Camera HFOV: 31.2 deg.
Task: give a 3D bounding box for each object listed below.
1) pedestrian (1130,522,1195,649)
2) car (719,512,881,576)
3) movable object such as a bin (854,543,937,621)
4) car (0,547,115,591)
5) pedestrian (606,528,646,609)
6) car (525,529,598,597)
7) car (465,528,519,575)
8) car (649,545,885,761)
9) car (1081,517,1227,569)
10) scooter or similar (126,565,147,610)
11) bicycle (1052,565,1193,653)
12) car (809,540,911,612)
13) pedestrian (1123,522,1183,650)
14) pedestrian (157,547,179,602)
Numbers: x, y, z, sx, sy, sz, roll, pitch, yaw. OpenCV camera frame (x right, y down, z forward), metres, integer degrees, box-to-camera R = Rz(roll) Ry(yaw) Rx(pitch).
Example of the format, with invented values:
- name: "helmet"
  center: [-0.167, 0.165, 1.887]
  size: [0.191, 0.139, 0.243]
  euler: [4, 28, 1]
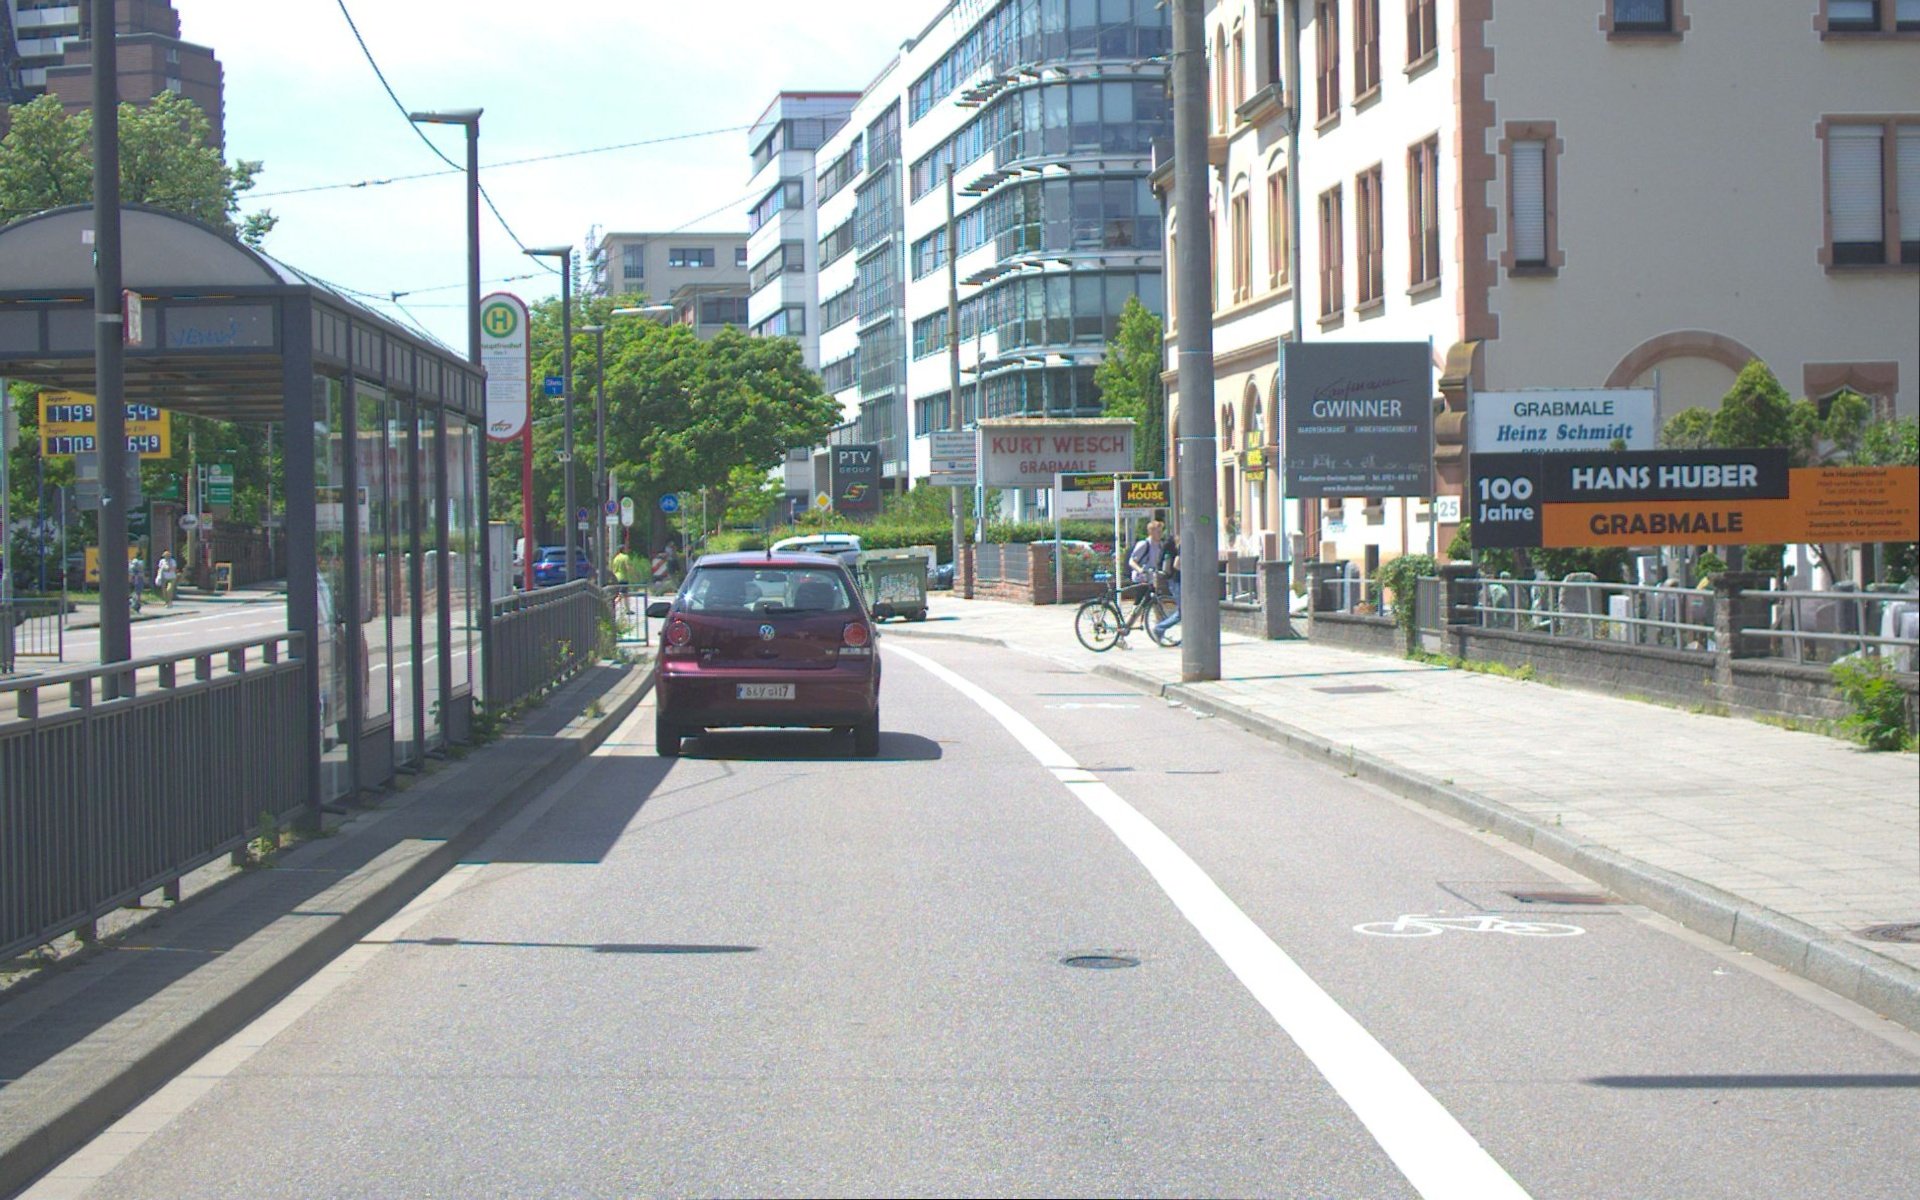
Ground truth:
- name: "pedestrian"
  center: [2.739, -0.197, 46.392]
  size: [0.824, 1.685, 0.589]
  euler: [-1, 1, 6]
- name: "car"
  center: [-4.738, -1.662, 101.342]
  size: [4.537, 1.793, 2.001]
  euler: [-1, 1, -9]
- name: "movable object such as a bin"
  center: [-1.284, -0.367, 68.315]
  size: [1.391, 1.450, 1.139]
  euler: [-4, 1, -12]
- name: "car"
  center: [-31.756, -1.085, 119.790]
  size: [1.932, 1.483, 4.443]
  euler: [1, 1, 31]
- name: "pedestrian"
  center: [-8.219, -0.780, 84.653]
  size: [0.780, 1.953, 0.590]
  euler: [-2, 1, -24]
- name: "car"
  center: [-12.059, -1.130, 103.886]
  size: [1.993, 2.007, 4.001]
  euler: [0, 1, -10]
- name: "car"
  center: [-18.291, -1.910, 134.197]
  size: [1.993, 1.733, 4.001]
  euler: [-2, 1, -8]
- name: "car"
  center: [-1.389, 0.337, 25.916]
  size: [1.619, 1.481, 4.000]
  euler: [0, 1, -1]
- name: "car"
  center: [5.813, -1.721, 103.279]
  size: [4.148, 1.454, 1.818]
  euler: [-1, 1, -5]
- name: "scooter or similar"
  center: [-22.552, -0.352, 94.181]
  size: [0.518, 1.196, 1.377]
  euler: [0, 1, -11]
- name: "bicycle"
  center: [2.236, 0.123, 47.336]
  size: [1.803, 1.123, 0.589]
  euler: [-2, 1, 19]
- name: "car"
  center: [-2.344, -0.564, 79.701]
  size: [1.772, 1.543, 4.469]
  euler: [-3, 1, -8]
- name: "pedestrian"
  center: [2.680, -0.197, 47.654]
  size: [0.688, 1.766, 0.503]
  euler: [-1, 1, 20]
- name: "pedestrian"
  center: [-24.551, -0.795, 106.572]
  size: [0.625, 1.685, 0.722]
  euler: [-1, 1, -14]
